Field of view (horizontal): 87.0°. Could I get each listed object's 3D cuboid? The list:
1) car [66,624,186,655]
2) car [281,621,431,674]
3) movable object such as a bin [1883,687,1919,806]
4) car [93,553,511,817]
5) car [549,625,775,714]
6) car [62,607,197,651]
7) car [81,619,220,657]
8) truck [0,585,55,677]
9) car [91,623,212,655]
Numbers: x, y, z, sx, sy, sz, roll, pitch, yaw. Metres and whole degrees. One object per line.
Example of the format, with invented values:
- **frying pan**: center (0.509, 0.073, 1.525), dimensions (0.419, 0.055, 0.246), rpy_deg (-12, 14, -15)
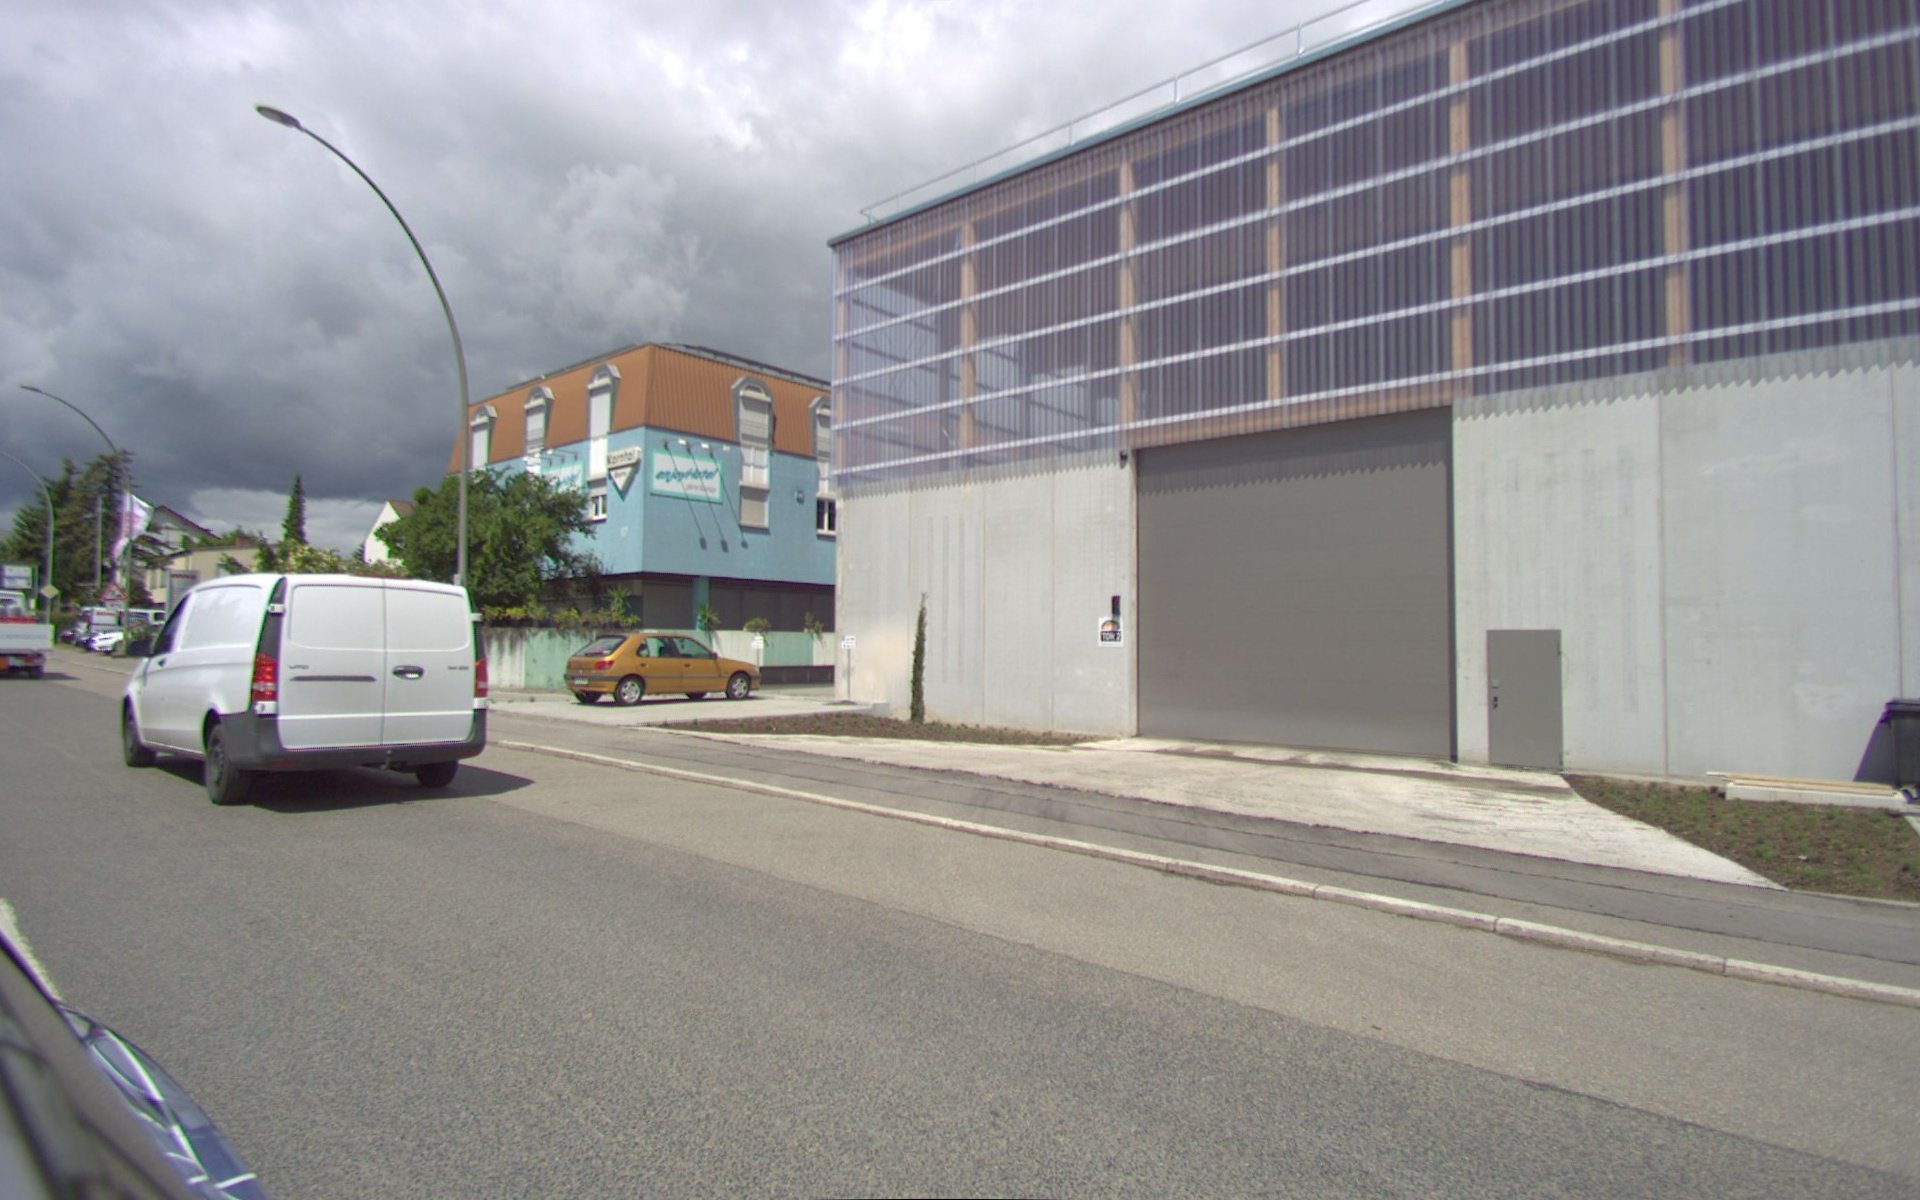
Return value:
- **car**: center (-38.267, 1.811, 46.495), dimensions (1.870, 1.325, 3.947), rpy_deg (0, -2, 39)
- **car**: center (-18.795, 1.467, 31.560), dimensions (1.980, 1.544, 3.588), rpy_deg (-2, -3, 43)
- **movable object such as a bin**: center (12.365, 1.794, 12.176), dimensions (1.818, 1.366, 0.947), rpy_deg (-2, -1, 43)
- **car**: center (-6.525, 0.705, 9.762), dimensions (5.113, 1.903, 1.973), rpy_deg (-2, -4, 41)
- **car**: center (-5.914, 1.318, 20.480), dimensions (1.823, 1.503, 4.111), rpy_deg (-2, -1, 37)
- **car**: center (-39.714, 1.435, 48.505), dimensions (2.112, 1.987, 4.607), rpy_deg (-1, -3, 37)
- **car**: center (-34.356, 1.638, 43.053), dimensions (1.871, 1.489, 4.328), rpy_deg (0, -2, 41)
- **truck**: center (-25.532, 0.800, 26.351), dimensions (6.449, 2.195, 2.293), rpy_deg (-2, -4, 43)
- **car**: center (-35.684, 1.735, 44.741), dimensions (1.872, 1.365, 3.943), rpy_deg (-2, -3, 43)
